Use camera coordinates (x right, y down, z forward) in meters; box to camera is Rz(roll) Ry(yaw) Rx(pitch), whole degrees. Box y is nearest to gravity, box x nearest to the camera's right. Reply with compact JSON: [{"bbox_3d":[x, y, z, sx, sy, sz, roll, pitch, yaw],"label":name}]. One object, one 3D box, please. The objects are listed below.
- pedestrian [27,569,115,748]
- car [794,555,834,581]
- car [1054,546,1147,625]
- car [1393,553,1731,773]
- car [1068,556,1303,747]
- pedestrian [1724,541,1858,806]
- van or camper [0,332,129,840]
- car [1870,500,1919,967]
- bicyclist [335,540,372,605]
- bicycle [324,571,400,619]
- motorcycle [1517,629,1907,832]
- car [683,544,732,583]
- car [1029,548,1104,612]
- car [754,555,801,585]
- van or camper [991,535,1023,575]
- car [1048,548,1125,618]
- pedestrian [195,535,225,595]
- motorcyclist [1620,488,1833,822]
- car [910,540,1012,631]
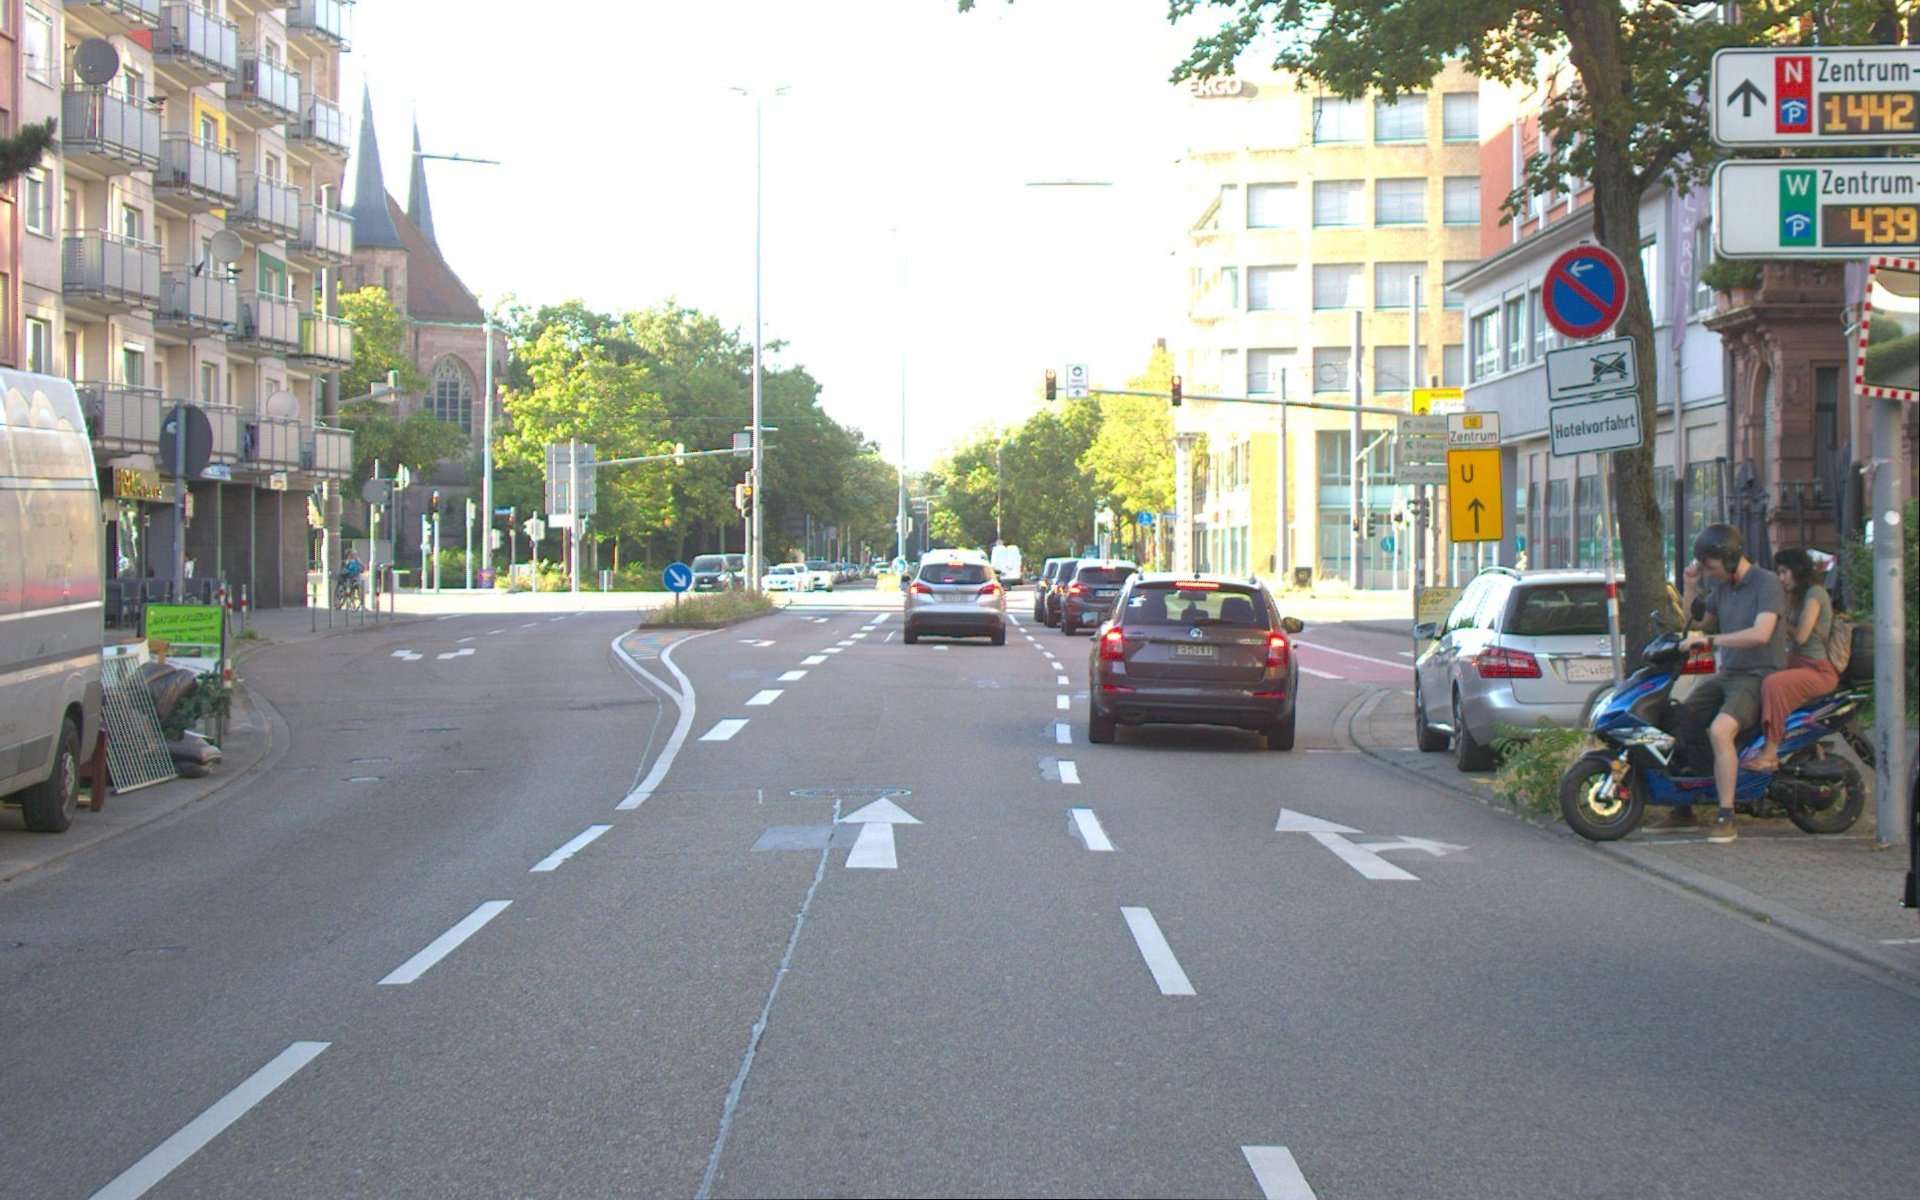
[{"bbox_3d":[-6.980,0.452,27.004,0.558,1.373,0.481,2,1,-6],"label":"pedestrian"},{"bbox_3d":[-7.179,-1.567,169.134,1.780,1.232,4.000,0,1,0],"label":"car"},{"bbox_3d":[2.787,-0.321,68.807,1.650,1.479,4.239,1,1,0],"label":"car"},{"bbox_3d":[4.546,0.412,26.648,1.856,1.507,4.834,-1,1,1],"label":"car"},{"bbox_3d":[1.886,0.386,29.846,1.707,1.452,4.159,2,1,0],"label":"car"},{"bbox_3d":[4.557,0.390,18.874,0.438,1.425,0.704,0,1,-12],"label":"pedestrian"},{"bbox_3d":[-6.036,-0.102,18.155,2.035,2.654,6.017,2,1,-3],"label":"van or camper"},{"bbox_3d":[4.405,0.505,10.366,1.947,1.649,4.796,0,1,-1],"label":"car"},{"bbox_3d":[-15.795,-0.717,89.526,0.782,1.654,0.901,1,0,-2],"label":"bicyclist"},{"bbox_3d":[-15.495,-0.136,89.136,1.827,1.184,0.734,2,1,-1],"label":"bicycle"},{"bbox_3d":[4.141,0.710,18.998,1.925,1.067,0.820,0,1,-12],"label":"motorcycle"},{"bbox_3d":[-10.858,-1.588,148.180,1.780,1.641,4.000,0,1,0],"label":"car"},{"bbox_3d":[2.493,-0.489,81.109,1.584,1.442,3.648,2,1,0],"label":"car"},{"bbox_3d":[-7.829,-1.308,147.614,1.780,1.232,4.000,0,1,0],"label":"car"},{"bbox_3d":[3.117,-2.979,227.218,1.993,2.631,5.350,0,1,1],"label":"van or camper"},{"bbox_3d":[2.763,-0.385,75.792,1.489,1.500,3.479,0,1,-1],"label":"car"},{"bbox_3d":[-17.429,-0.805,79.898,0.484,1.379,0.481,1,0,20],"label":"pedestrian"},{"bbox_3d":[4.185,0.283,18.847,0.736,1.772,1.089,0,1,-12],"label":"motorcyclist"},{"bbox_3d":[0.013,-0.281,60.512,1.707,1.504,4.309,1,1,0],"label":"car"}]
